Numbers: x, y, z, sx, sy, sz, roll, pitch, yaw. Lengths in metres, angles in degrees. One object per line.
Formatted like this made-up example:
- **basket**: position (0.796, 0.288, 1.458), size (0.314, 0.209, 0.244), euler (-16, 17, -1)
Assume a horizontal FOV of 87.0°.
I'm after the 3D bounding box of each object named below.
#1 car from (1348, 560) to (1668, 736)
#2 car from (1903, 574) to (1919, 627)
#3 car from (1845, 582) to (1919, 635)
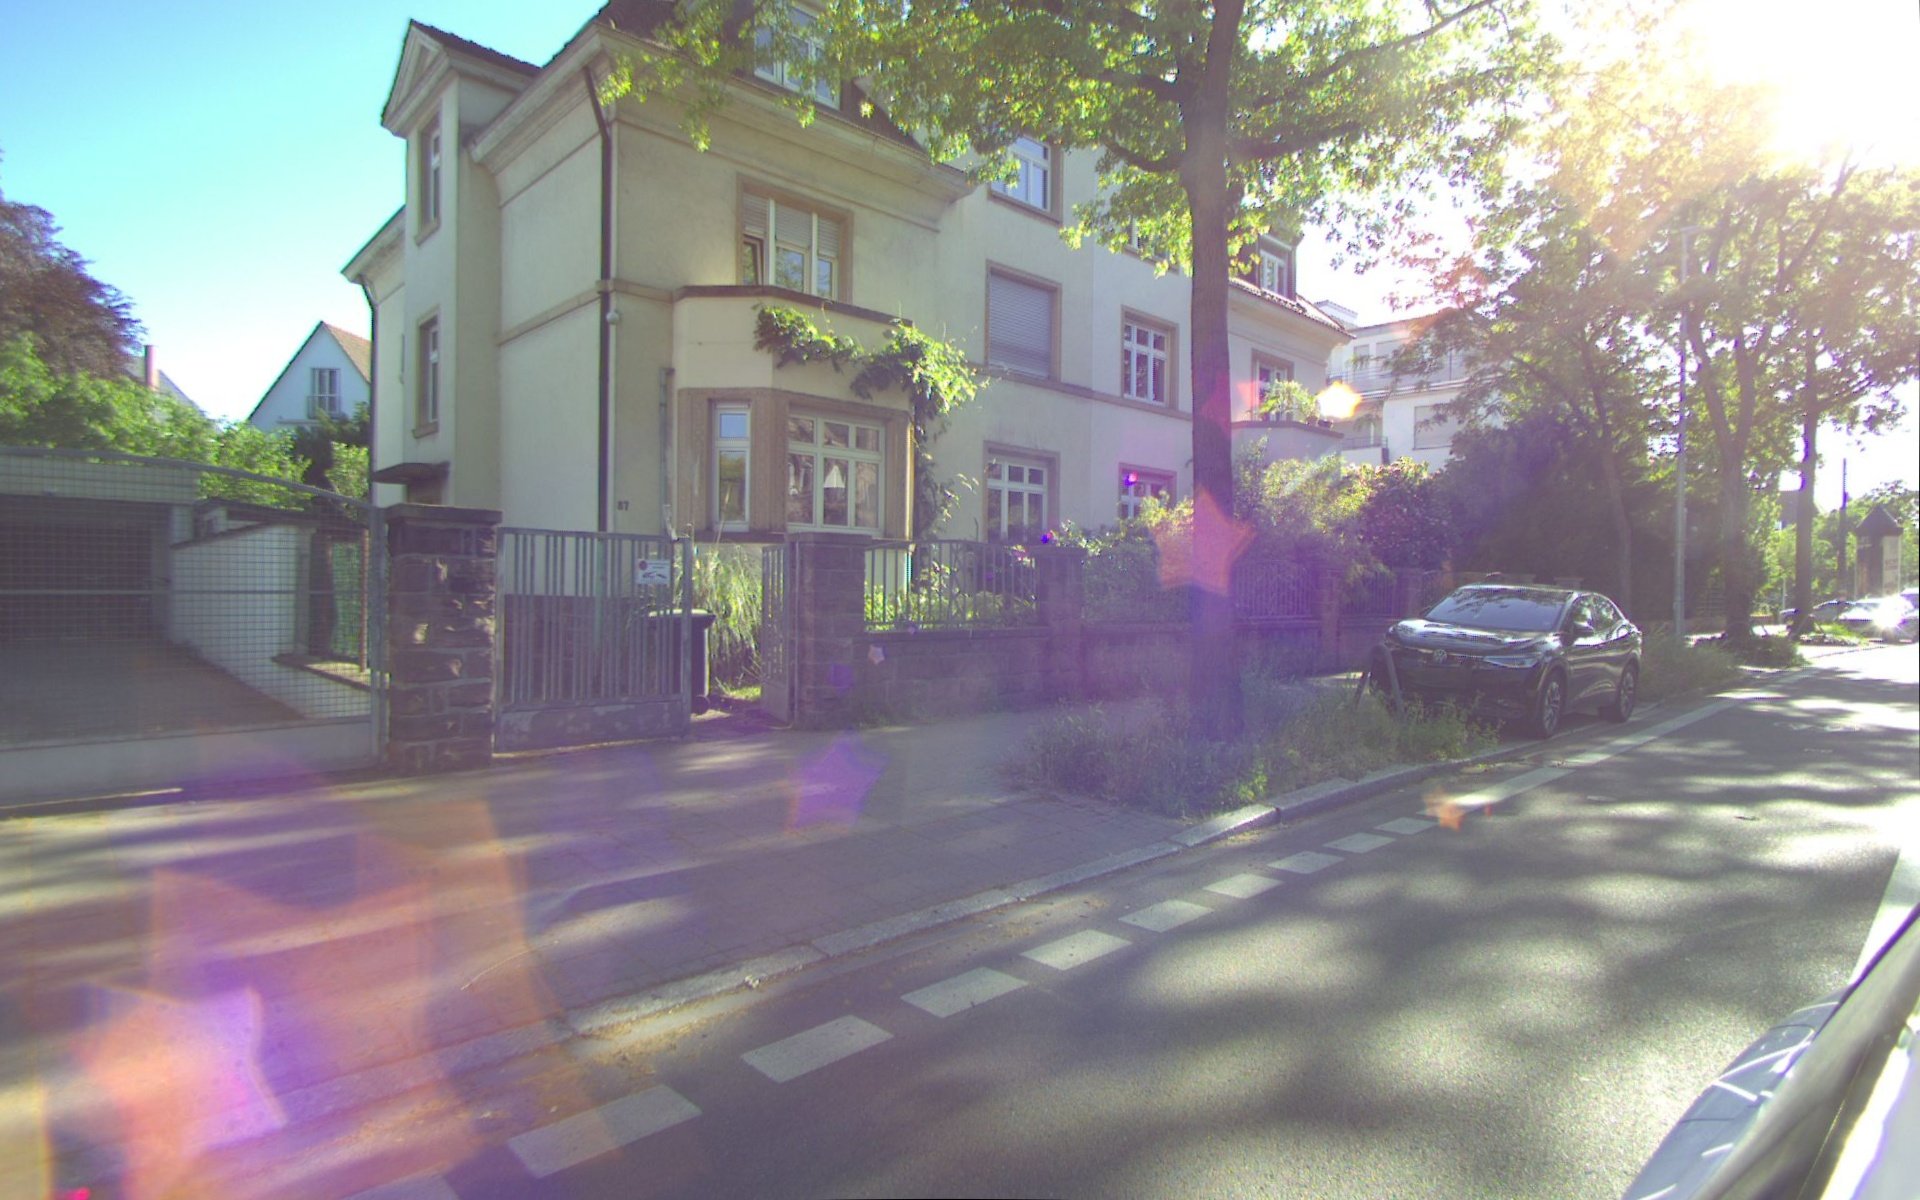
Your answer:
- **car**: position (6.710, 0.480, 12.201), size (4.304, 1.695, 1.997), euler (1, 2, -42)
- **car**: position (37.034, 0.012, 37.839), size (4.663, 1.919, 2.128), euler (0, 1, -41)
- **car**: position (31.520, 0.253, 34.101), size (3.927, 1.660, 1.824), euler (0, 1, -38)
